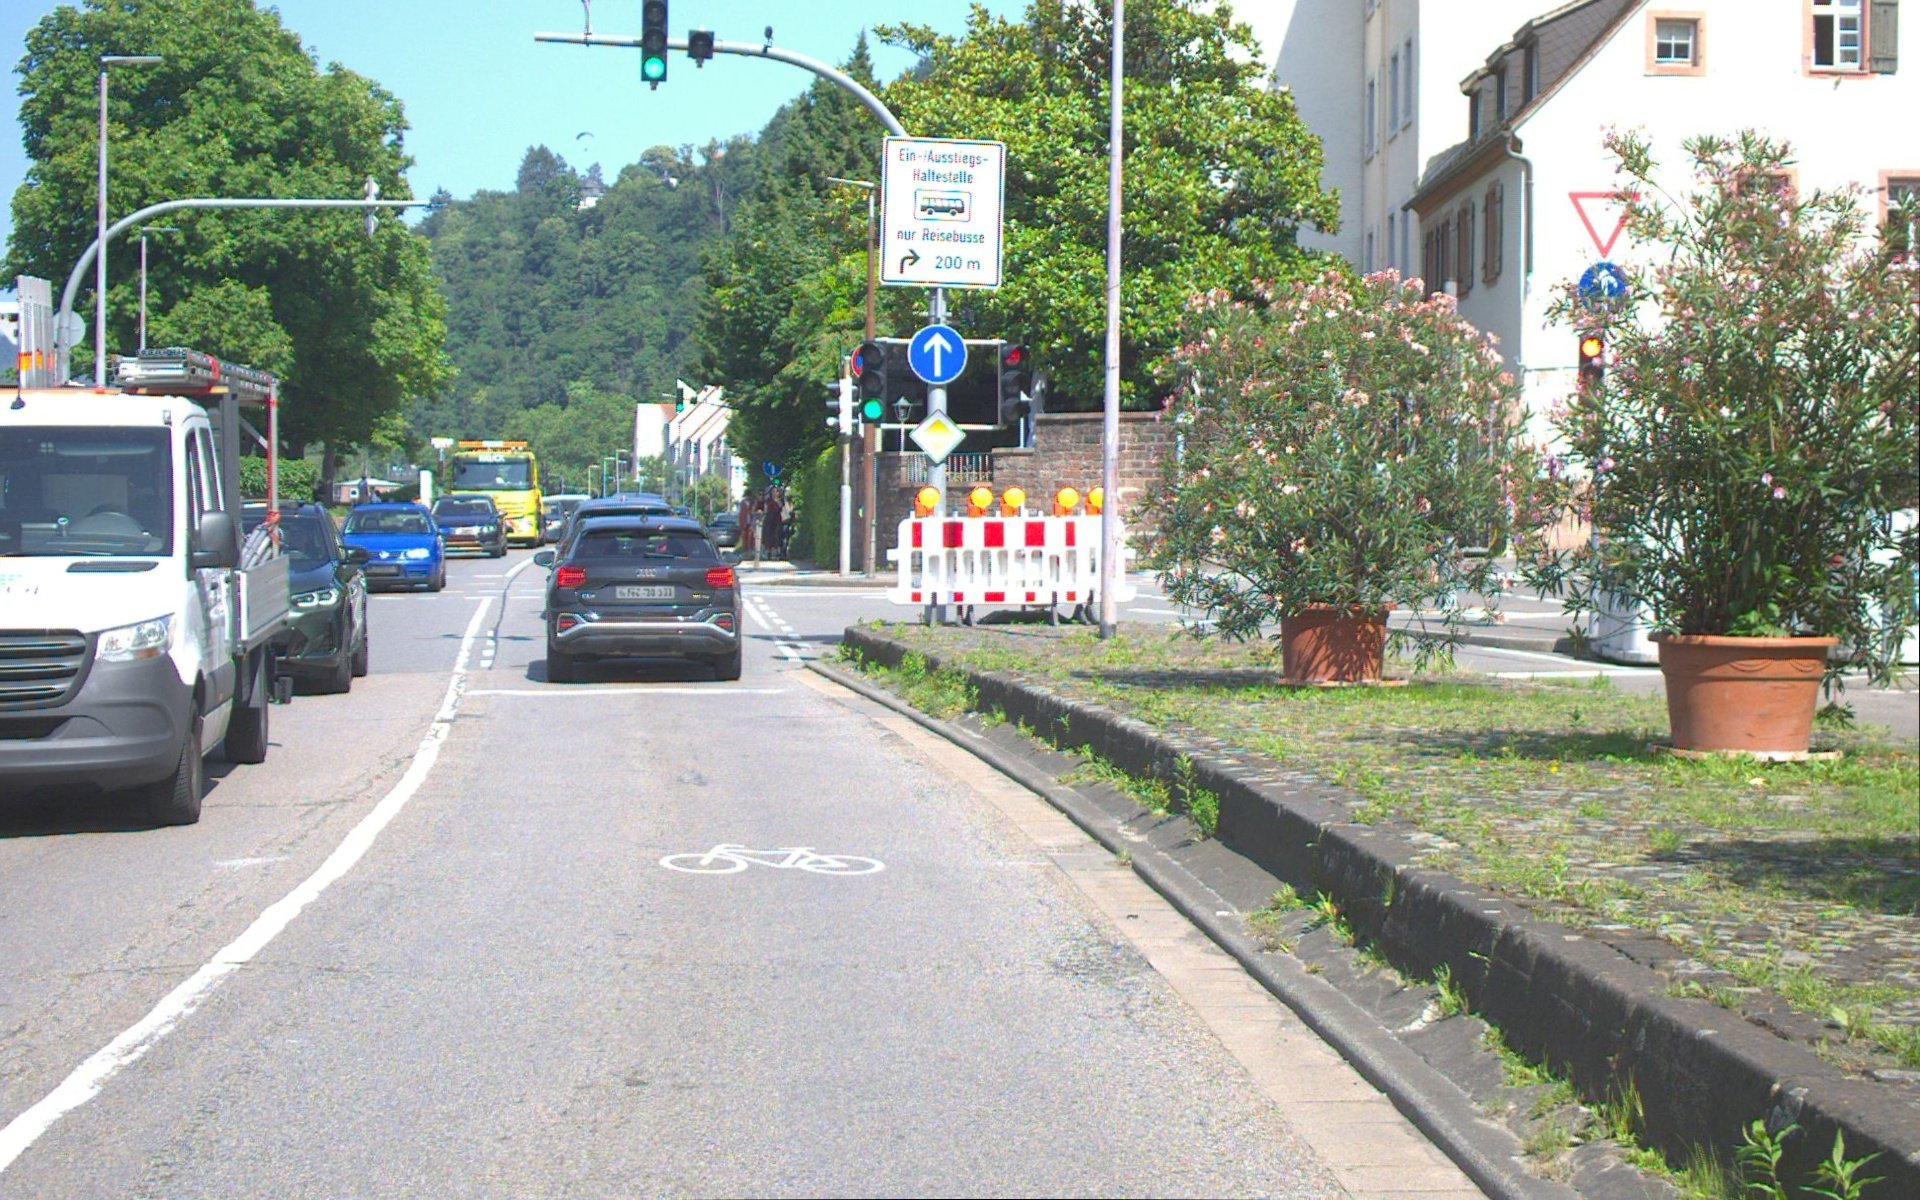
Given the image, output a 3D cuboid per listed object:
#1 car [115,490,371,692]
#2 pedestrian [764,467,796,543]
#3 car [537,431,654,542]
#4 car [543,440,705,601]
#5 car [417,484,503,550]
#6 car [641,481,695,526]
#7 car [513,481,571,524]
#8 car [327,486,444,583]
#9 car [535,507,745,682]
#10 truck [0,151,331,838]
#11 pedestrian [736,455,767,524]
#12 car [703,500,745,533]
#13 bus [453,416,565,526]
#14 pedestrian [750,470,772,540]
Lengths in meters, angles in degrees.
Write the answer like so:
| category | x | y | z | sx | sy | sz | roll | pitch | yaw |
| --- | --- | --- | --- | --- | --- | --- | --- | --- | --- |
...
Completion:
| category | x | y | z | sx | sy | sz | roll | pitch | yaw |
| --- | --- | --- | --- | --- | --- | --- | --- | --- | --- |
| car | -6.412 | -0.145 | 31.160 | 1.862 | 1.675 | 4.455 | -1 | 2 | -7 |
| pedestrian | -4.116 | -2.169 | 78.767 | 0.680 | 1.736 | 0.913 | 1 | 1 | -5 |
| car | -7.315 | -2.253 | 69.272 | 1.993 | 2.007 | 4.001 | 4 | 0 | -3 |
| car | -4.418 | -0.996 | 44.880 | 1.993 | 2.007 | 4.001 | 0 | 0 | -7 |
| car | -11.186 | -1.885 | 77.081 | 1.808 | 1.401 | 4.358 | 0 | 2 | -7 |
| car | -10.090 | -3.321 | 118.730 | 1.794 | 1.477 | 4.001 | 1 | 1 | -5 |
| car | -14.493 | -3.404 | 119.303 | 1.815 | 1.393 | 4.348 | -1 | 3 | -5 |
| car | -9.388 | -1.096 | 56.097 | 1.808 | 1.503 | 4.001 | 0 | 2 | -10 |
| car | -3.083 | -0.106 | 32.549 | 1.856 | 1.518 | 4.001 | 0 | 2 | -7 |
| truck | -5.241 | -0.593 | 20.146 | 2.376 | 3.250 | 7.613 | -2 | 2 | -6 |
| pedestrian | -4.976 | -2.644 | 81.997 | 0.735 | 1.628 | 0.921 | 0 | 2 | -4 |
| car | -11.256 | -3.964 | 163.843 | 1.993 | 1.448 | 4.009 | 0 | 0 | -4 |
| bus | -12.287 | -3.534 | 94.170 | 2.596 | 2.886 | 8.449 | 0 | 2 | -4 |
| pedestrian | -4.648 | -2.212 | 80.179 | 0.455 | 1.600 | 0.579 | 1 | 1 | -4 |
